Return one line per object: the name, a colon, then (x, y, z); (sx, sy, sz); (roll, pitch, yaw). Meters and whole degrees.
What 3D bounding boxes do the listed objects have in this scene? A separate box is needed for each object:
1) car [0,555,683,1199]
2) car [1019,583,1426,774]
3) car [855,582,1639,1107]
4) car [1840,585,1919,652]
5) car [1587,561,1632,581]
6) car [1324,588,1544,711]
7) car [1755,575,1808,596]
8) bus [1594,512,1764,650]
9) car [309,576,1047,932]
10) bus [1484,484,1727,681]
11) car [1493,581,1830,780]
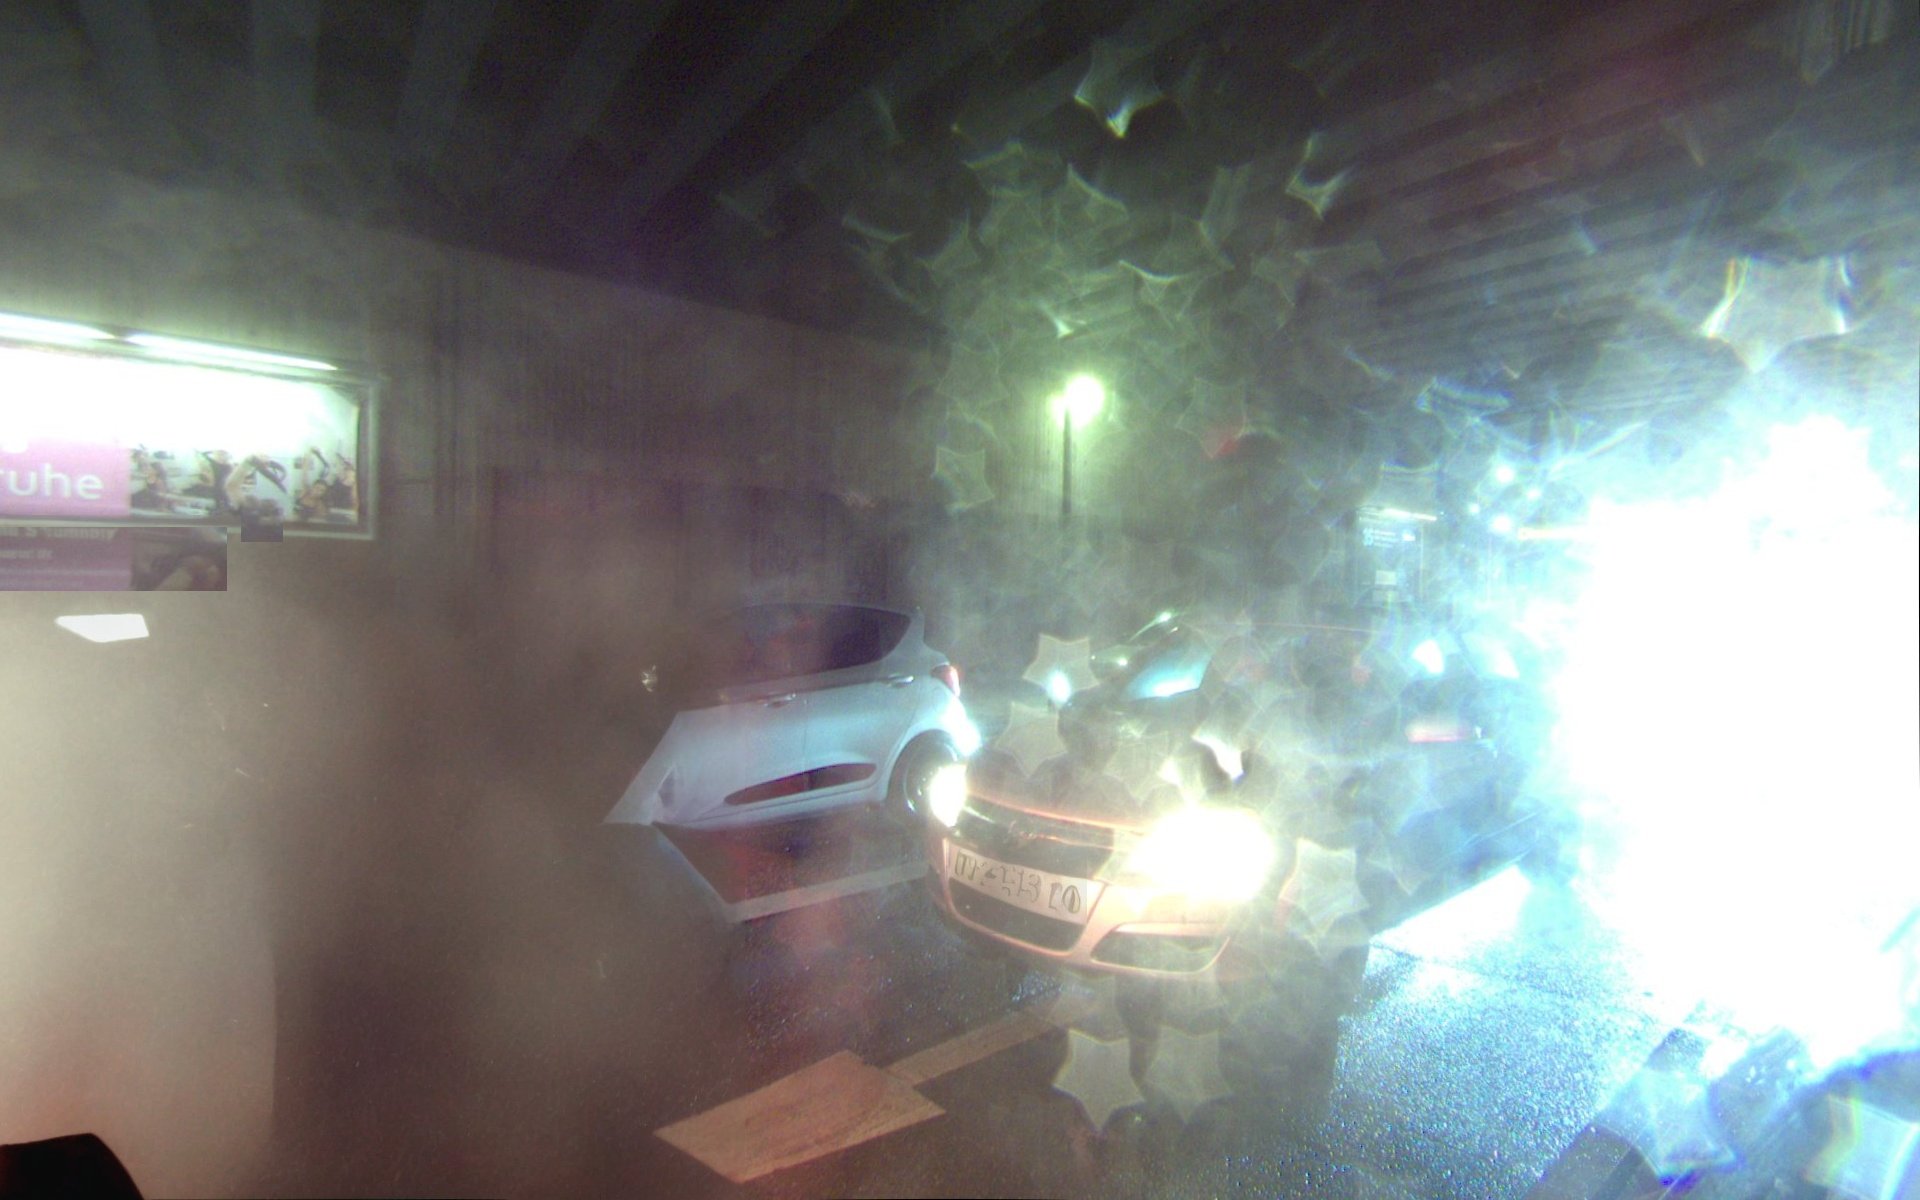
car: (-2.659, 0.673, 0.983); (4.308, 1.464, 1.723); (-1, 3, -42)
car: (2.869, 0.593, 10.333); (4.705, 1.505, 1.723); (-1, 2, -42)
car: (1.658, 0.653, 4.854); (4.091, 1.464, 1.722); (-1, 1, -42)
car: (22.544, 0.399, 24.548); (1.750, 1.464, 3.914); (3, 3, 41)
car: (46.368, -2.050, 72.334); (1.685, 1.407, 3.979); (0, 1, 17)
car: (7.181, 0.619, 15.135); (1.721, 1.505, 4.096); (3, 3, 44)
car: (64.100, -1.148, 79.039); (1.578, 1.556, 4.293); (0, 1, 14)
bus: (20.488, -0.524, 28.536); (2.733, 3.278, 9.551); (0, 1, 43)
car: (-1.495, 0.614, 6.287); (4.091, 1.464, 1.723); (-1, 3, -42)
bus: (14.036, -0.381, 21.523); (2.733, 3.318, 9.551); (0, 1, 43)
car: (6.847, 0.622, 9.711); (4.091, 1.506, 1.722); (-1, -2, -42)
